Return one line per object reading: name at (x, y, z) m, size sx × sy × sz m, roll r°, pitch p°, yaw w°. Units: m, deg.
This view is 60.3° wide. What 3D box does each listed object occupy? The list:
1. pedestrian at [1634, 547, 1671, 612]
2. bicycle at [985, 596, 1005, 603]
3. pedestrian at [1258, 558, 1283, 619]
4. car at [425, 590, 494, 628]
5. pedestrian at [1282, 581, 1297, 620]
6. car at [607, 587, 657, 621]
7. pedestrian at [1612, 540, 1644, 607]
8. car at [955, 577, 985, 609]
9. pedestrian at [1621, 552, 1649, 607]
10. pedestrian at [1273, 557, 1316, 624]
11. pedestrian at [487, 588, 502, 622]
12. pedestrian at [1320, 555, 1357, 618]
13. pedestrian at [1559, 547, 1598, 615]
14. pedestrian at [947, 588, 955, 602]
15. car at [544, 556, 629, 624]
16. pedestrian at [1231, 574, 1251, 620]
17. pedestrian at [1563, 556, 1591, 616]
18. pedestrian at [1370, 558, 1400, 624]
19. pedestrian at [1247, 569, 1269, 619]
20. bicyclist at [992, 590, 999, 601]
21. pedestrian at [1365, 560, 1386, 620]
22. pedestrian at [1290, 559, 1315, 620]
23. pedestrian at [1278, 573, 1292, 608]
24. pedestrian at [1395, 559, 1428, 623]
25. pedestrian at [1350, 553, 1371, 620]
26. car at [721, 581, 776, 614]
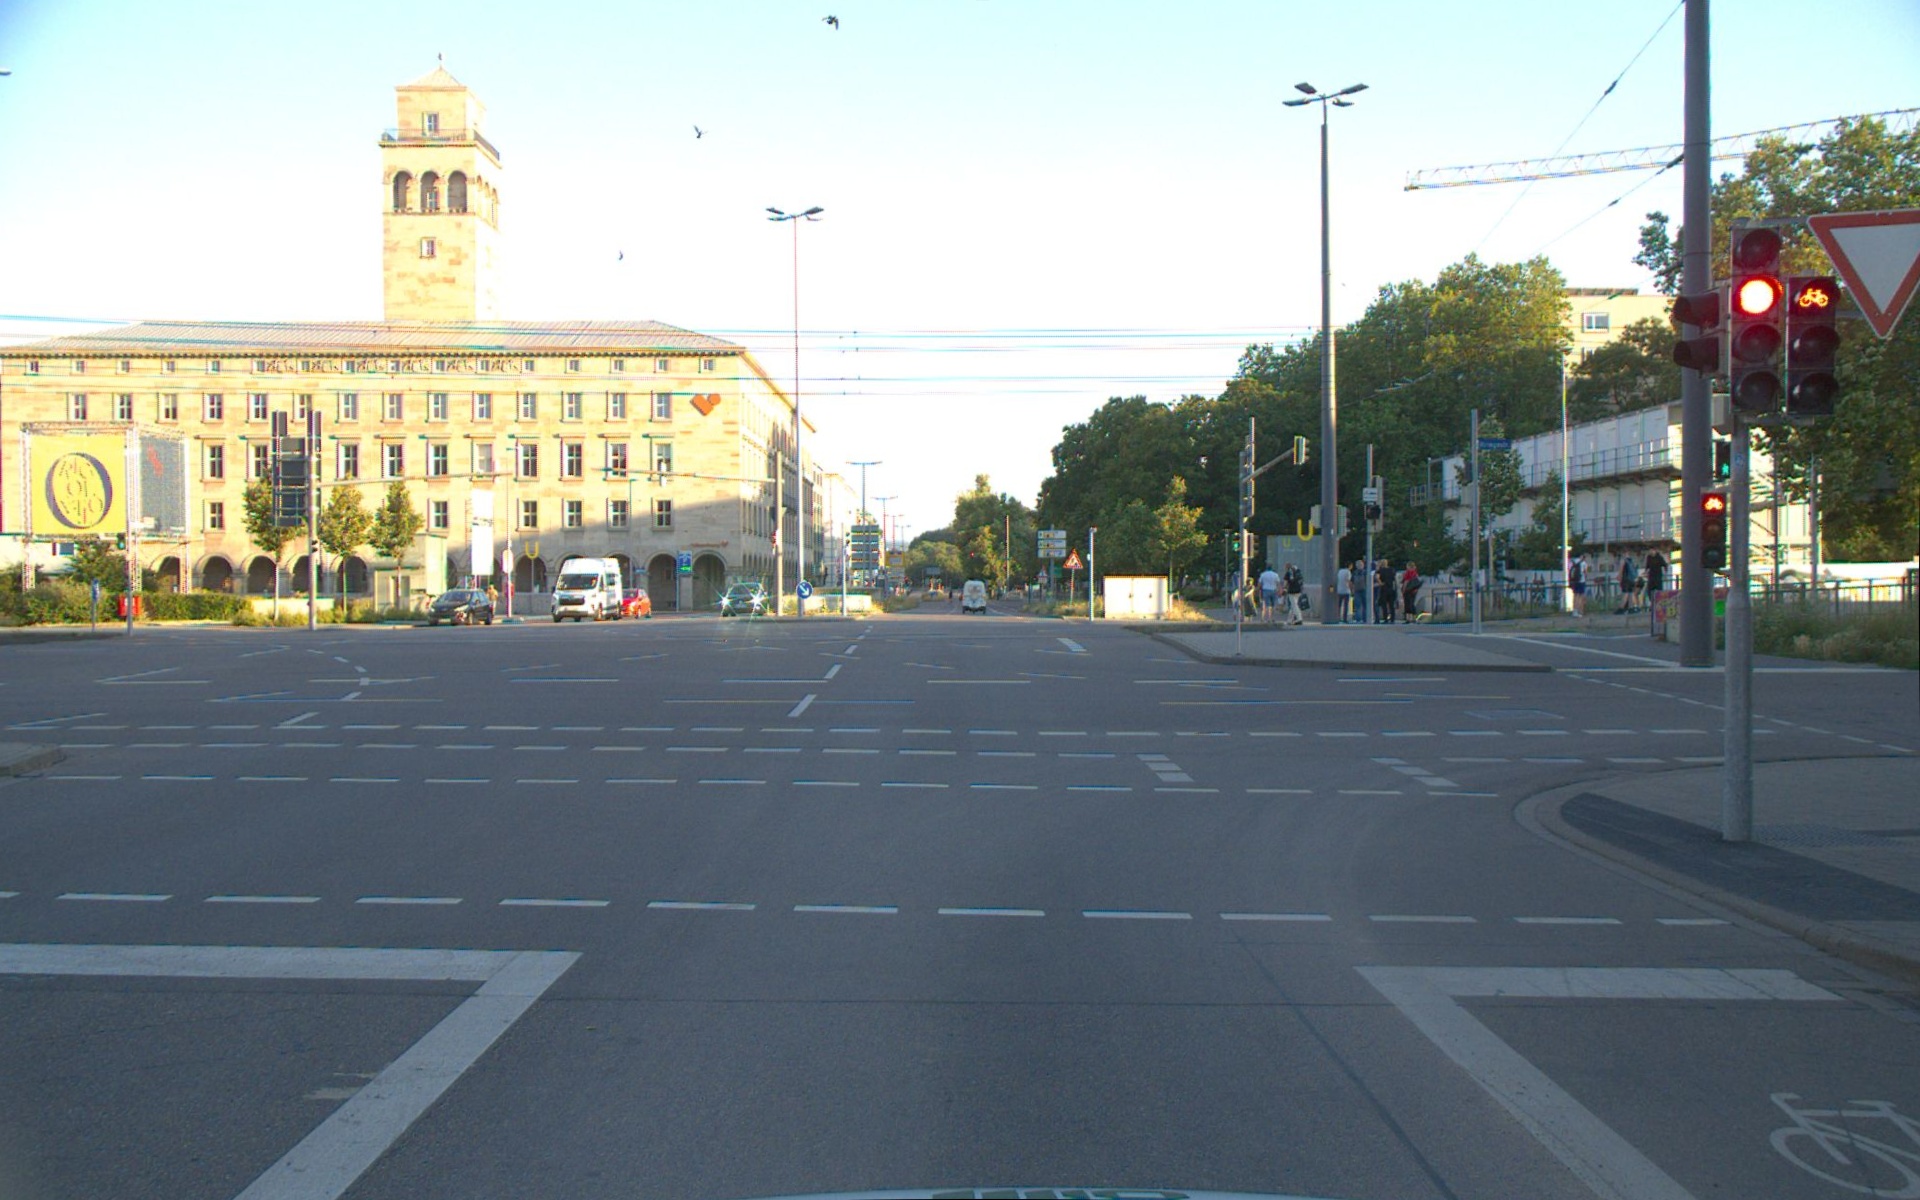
pedestrian at (18.898, -0.566, 45.144) m, size 0.660 × 1.755 × 0.705 m, roll -1°, pitch 1°, yaw -34°
bicycle at (4.761, -0.057, 225.068) m, size 2.553 × 0.975 × 0.513 m, roll 1°, pitch -1°, yaw -9°
pedestrian at (9.034, -0.327, 48.137) m, size 0.695 × 1.755 × 0.669 m, roll 0°, pitch 1°, yaw 13°
car at (-21.147, 0.340, 70.019) m, size 1.786 × 1.491 × 4.156 m, roll -1°, pitch 1°, yaw -2°
pedestrian at (12.389, 0.020, 62.176) m, size 0.560 × 1.463 × 0.639 m, roll 0°, pitch 1°, yaw 11°
car at (-16.018, 0.175, 80.936) m, size 1.703 × 1.513 × 4.000 m, roll -1°, pitch 1°, yaw -1°
pedestrian at (17.638, -0.692, 43.675) m, size 0.696 × 1.755 × 0.669 m, roll 0°, pitch 1°, yaw 16°
car at (0.546, -0.417, 91.255) m, size 1.454 × 1.725 × 2.971 m, roll -1°, pitch 1°, yaw -4°
pedestrian at (18.073, -0.547, 44.303) m, size 0.662 × 1.466 × 0.714 m, roll 0°, pitch 1°, yaw 21°
pedestrian at (8.877, -0.267, 43.914) m, size 0.897 × 1.755 × 0.710 m, roll 0°, pitch 1°, yaw 37°
pedestrian at (-24.379, 0.264, 86.617) m, size 0.609 × 1.774 × 0.459 m, roll 1°, pitch -1°, yaw -6°
pedestrian at (10.725, -0.383, 46.881) m, size 0.893 × 1.755 × 0.713 m, roll 0°, pitch 1°, yaw -1°
pedestrian at (16.241, -0.506, 43.455) m, size 0.660 × 1.755 × 0.705 m, roll -1°, pitch 1°, yaw -32°
pedestrian at (-1.079, -0.585, 194.777) m, size 0.888 × 1.700 × 1.306 m, roll -1°, pitch 1°, yaw -2°
car at (-16.240, -0.471, 72.233) m, size 2.232 × 2.824 × 6.085 m, roll -1°, pitch 1°, yaw 1°
pedestrian at (10.351, -0.106, 60.945) m, size 0.548 × 1.683 × 0.902 m, roll 0°, pitch 1°, yaw 20°
pedestrian at (16.741, -0.377, 44.869) m, size 0.559 × 1.620 × 0.536 m, roll -1°, pitch 0°, yaw -1°
pedestrian at (11.778, -0.251, 45.852) m, size 0.788 × 1.822 × 0.801 m, roll 0°, pitch 1°, yaw 13°
pedestrian at (10.937, -0.222, 60.713) m, size 0.665 × 1.788 × 0.902 m, roll 0°, pitch 1°, yaw 20°
bicyclist at (4.782, -0.607, 225.092) m, size 0.815 × 1.489 × 0.659 m, roll -1°, pitch 1°, yaw -8°
pedestrian at (11.892, -0.284, 47.307) m, size 0.560 × 1.708 × 0.639 m, roll 0°, pitch 1°, yaw 13°
pedestrian at (9.963, -0.311, 48.082) m, size 0.695 × 1.755 × 0.669 m, roll 0°, pitch 1°, yaw 13°
pedestrian at (17.124, -0.501, 87.209) m, size 0.652 × 1.874 × 0.713 m, roll 0°, pitch 1°, yaw 4°
pedestrian at (12.612, -0.265, 46.200) m, size 0.826 × 1.764 × 0.706 m, roll 0°, pitch 1°, yaw 11°
pedestrian at (11.127, -0.378, 46.000) m, size 0.560 × 1.822 × 0.639 m, roll 0°, pitch 1°, yaw 13°
car at (-9.250, -0.133, 72.488) m, size 1.785 × 1.365 × 4.001 m, roll 0°, pitch 1°, yaw 1°
